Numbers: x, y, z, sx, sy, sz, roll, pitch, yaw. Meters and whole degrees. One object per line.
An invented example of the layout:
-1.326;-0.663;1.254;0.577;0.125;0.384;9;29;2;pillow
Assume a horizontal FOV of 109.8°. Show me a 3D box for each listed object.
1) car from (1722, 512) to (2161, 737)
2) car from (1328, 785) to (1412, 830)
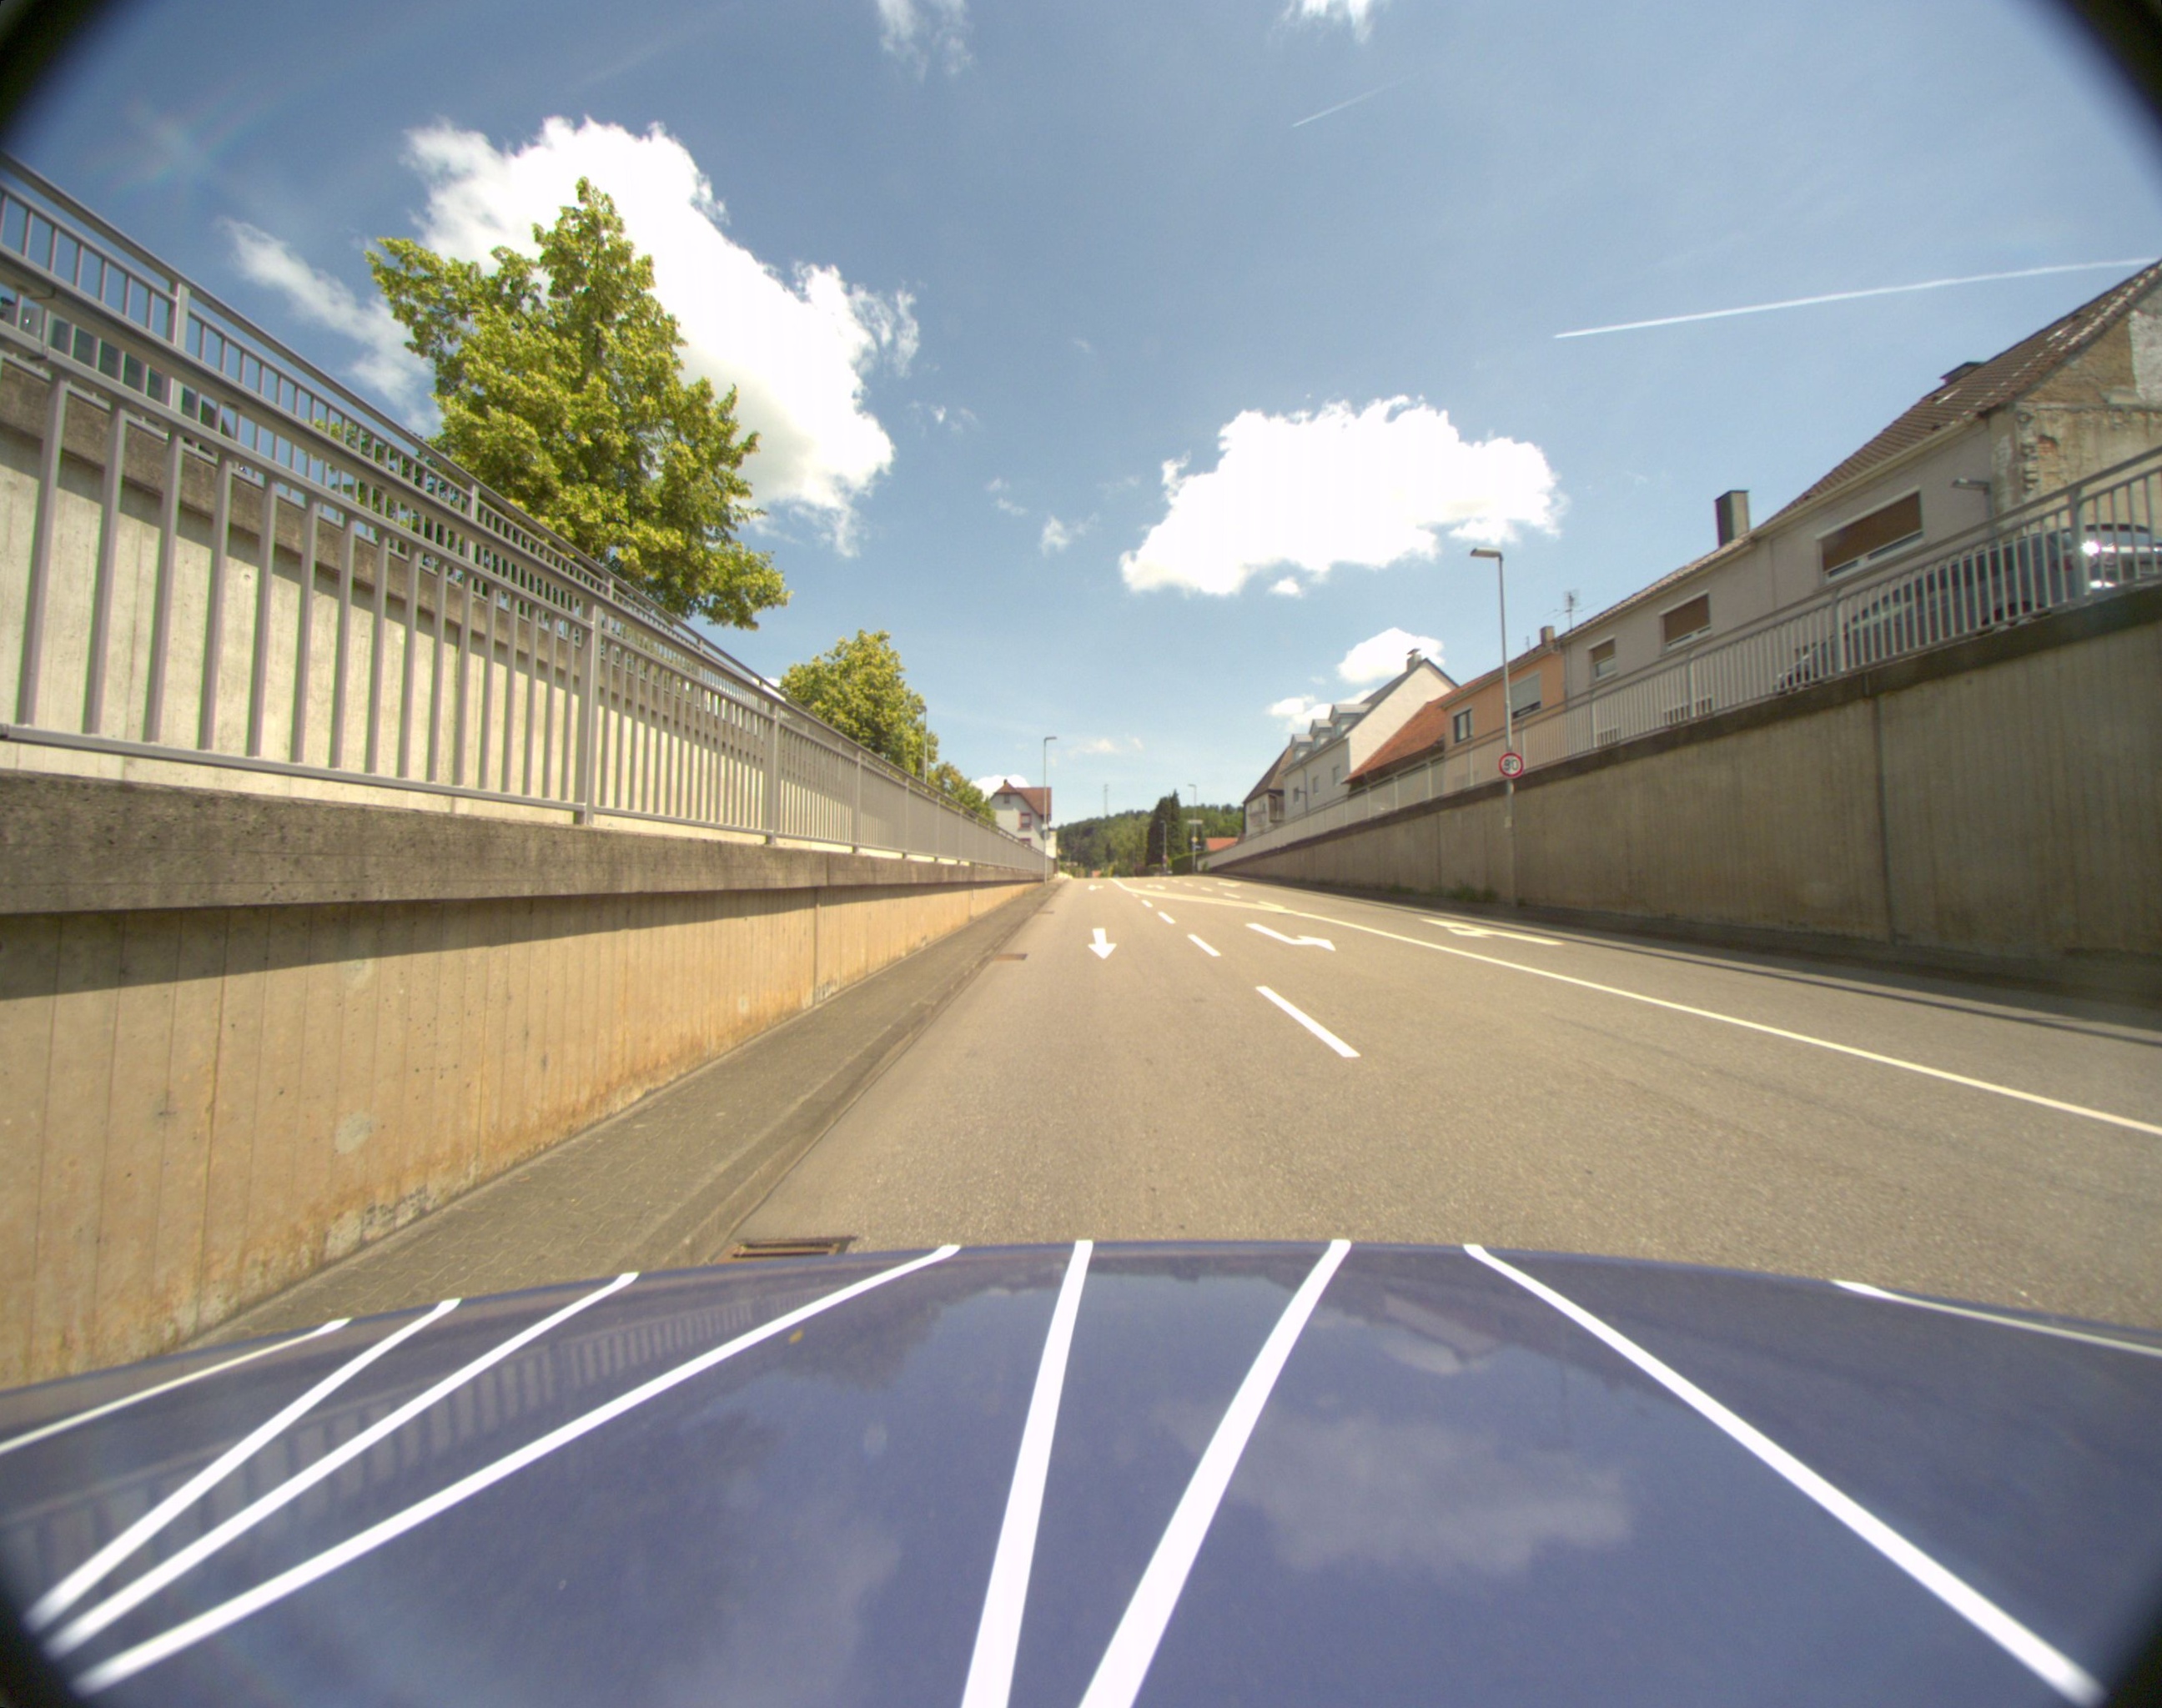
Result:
11.448;-2.769;10.227;1.803;1.515;4.394;-1;-2;-1;car
12.233;-1.921;32.439;1.790;1.396;4.394;-1;-2;-1;car
